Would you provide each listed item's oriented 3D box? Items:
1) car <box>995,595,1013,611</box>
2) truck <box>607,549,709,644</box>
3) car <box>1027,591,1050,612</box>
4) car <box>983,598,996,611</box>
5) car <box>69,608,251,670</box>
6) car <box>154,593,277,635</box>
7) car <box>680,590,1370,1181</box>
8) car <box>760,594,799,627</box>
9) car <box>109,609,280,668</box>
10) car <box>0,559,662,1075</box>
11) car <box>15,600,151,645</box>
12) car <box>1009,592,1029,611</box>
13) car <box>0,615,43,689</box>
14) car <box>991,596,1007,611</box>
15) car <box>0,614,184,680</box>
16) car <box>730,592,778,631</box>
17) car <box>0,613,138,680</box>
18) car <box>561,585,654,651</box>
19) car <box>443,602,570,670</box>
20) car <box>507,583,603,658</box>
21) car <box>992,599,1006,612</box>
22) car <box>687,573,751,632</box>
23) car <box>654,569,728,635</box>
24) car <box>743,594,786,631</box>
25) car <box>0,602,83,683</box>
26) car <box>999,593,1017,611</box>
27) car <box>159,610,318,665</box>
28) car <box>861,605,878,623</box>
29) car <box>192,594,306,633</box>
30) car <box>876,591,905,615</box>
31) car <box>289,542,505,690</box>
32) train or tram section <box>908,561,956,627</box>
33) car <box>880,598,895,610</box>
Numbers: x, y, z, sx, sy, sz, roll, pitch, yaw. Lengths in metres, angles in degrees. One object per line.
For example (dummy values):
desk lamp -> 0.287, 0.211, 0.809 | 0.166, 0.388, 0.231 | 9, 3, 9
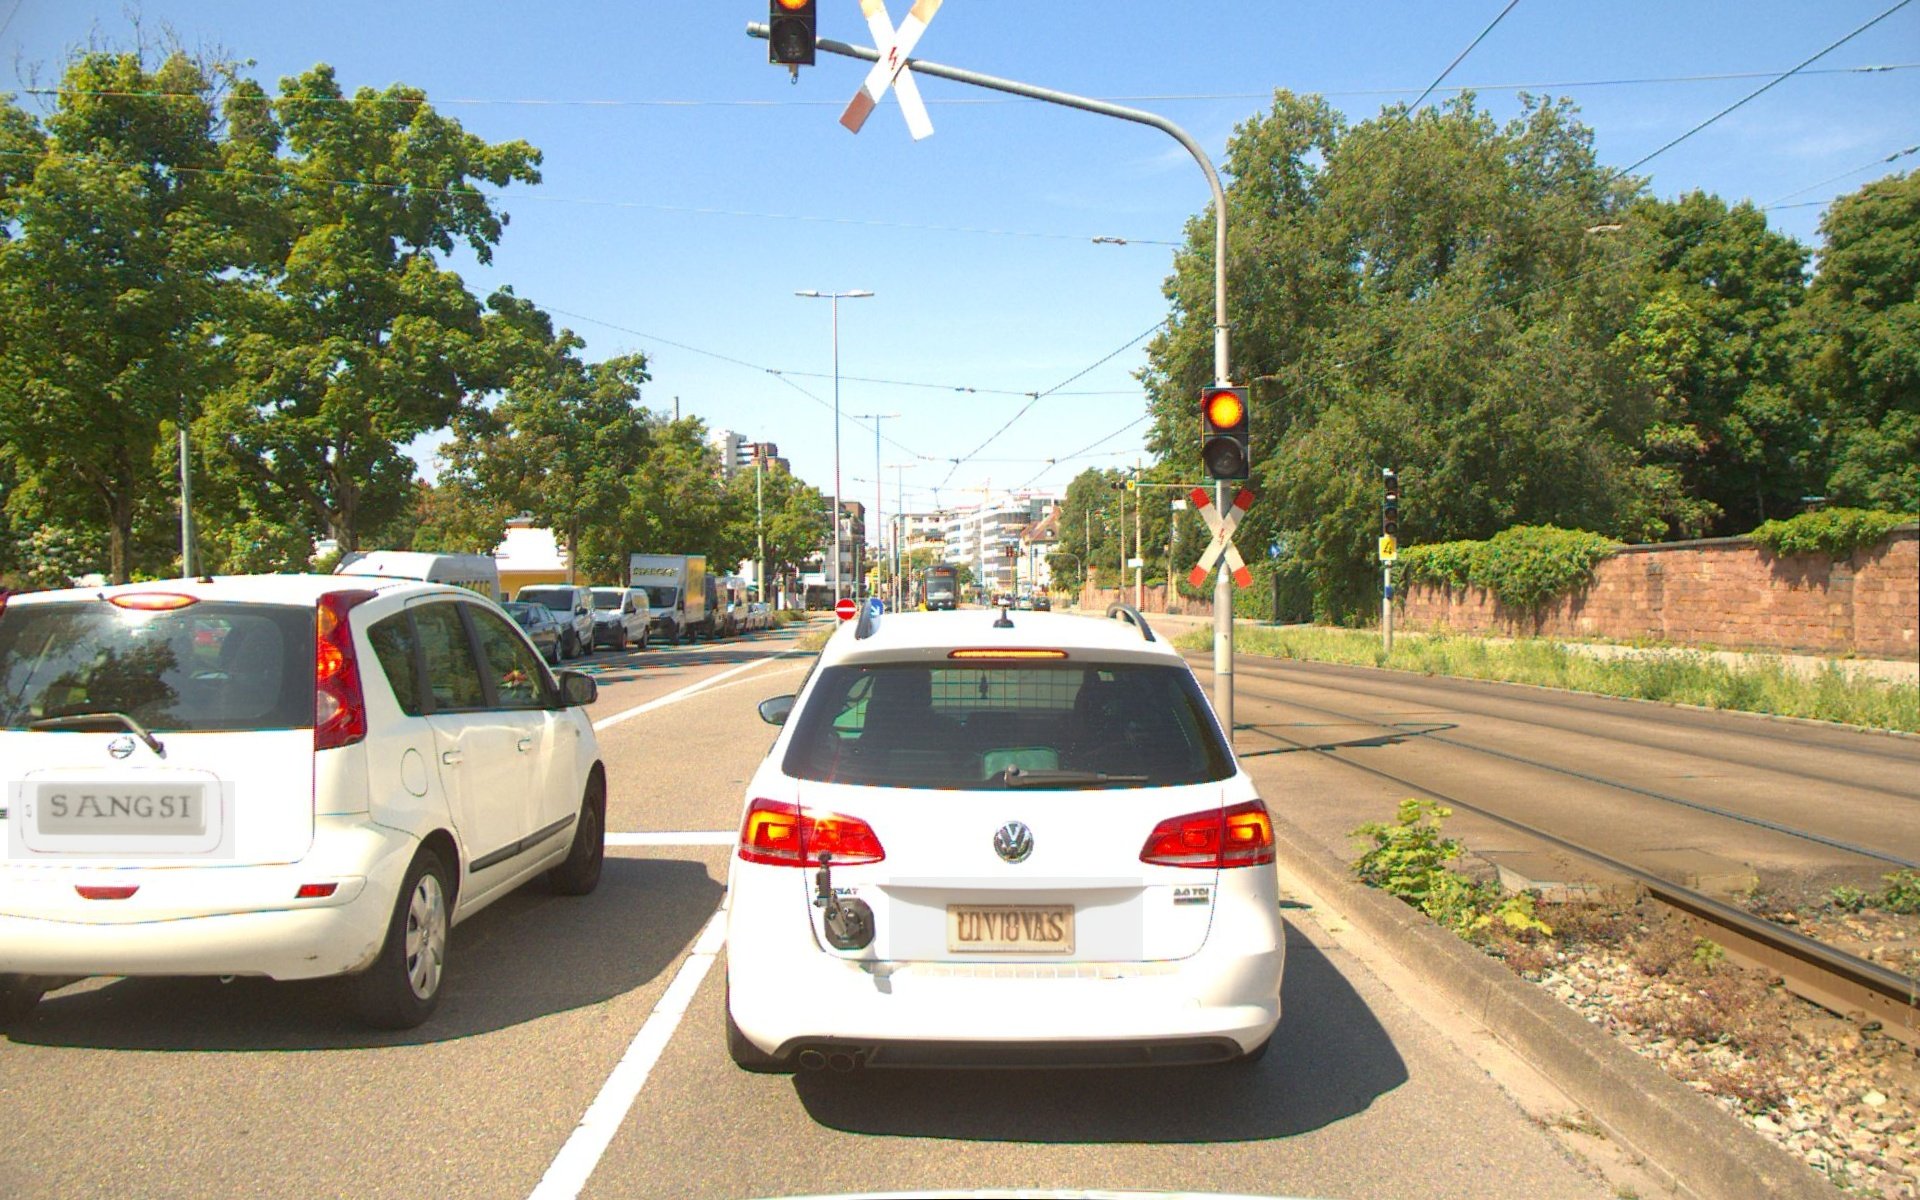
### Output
car -> 5.444, 0.332, 205.196 | 1.826, 1.900, 5.060 | 1, 0, -2
truck -> -10.889, -0.125, 60.146 | 2.371, 3.205, 6.996 | 1, 0, 0
car -> 7.415, 0.126, 156.781 | 1.826, 1.900, 5.060 | 1, 0, -2
car -> 4.664, 0.722, 262.596 | 1.826, 1.900, 5.060 | 1, 0, -2
car -> -21.118, 1.014, 43.779 | 3.909, 1.440, 1.728 | -2, 0, -5
car -> -34.386, 0.653, 76.493 | 4.698, 1.819, 2.062 | 1, 0, -5
car -> 0.140, 0.711, 6.204 | 1.726, 1.455, 3.999 | -1, 0, -1
car -> -10.718, 0.606, 98.422 | 1.826, 1.900, 5.412 | 1, 0, -1
car -> -21.296, 1.047, 46.107 | 3.909, 1.440, 1.728 | -2, 0, -5
car -> -2.547, 0.651, 7.322 | 1.628, 1.575, 4.546 | 0, 0, 0
car -> -37.826, 0.970, 71.423 | 4.698, 1.819, 2.062 | 1, 0, -5
car -> 6.143, 0.127, 172.708 | 1.826, 1.900, 5.060 | 1, 0, -2
car -> -20.740, 1.114, 32.920 | 3.909, 1.440, 1.728 | -2, 0, -5
car -> 5.329, 0.479, 227.190 | 1.826, 1.900, 5.060 | 1, 0, -2
car -> -21.740, 1.158, 41.238 | 3.909, 1.440, 1.728 | -2, 0, -5
car -> -10.501, 0.541, 84.694 | 1.826, 1.900, 5.412 | 1, 0, -1
car -> -21.625, 1.106, 38.630 | 3.909, 1.440, 1.728 | -2, 0, -5
car -> -10.941, 0.516, 51.722 | 1.826, 1.900, 5.412 | 1, 0, -1
car -> -10.500, 0.792, 38.603 | 1.826, 1.440, 4.278 | 1, 0, -1
car -> -10.986, 0.520, 45.137 | 1.828, 1.900, 5.068 | 1, 0, -6
car -> 5.827, 0.862, 247.413 | 1.826, 1.900, 5.060 | 1, 0, -2
car -> -10.953, 0.083, 75.580 | 2.079, 2.560, 5.733 | 1, 0, 0
car -> -11.019, 0.049, 68.143 | 2.079, 2.560, 5.733 | 1, 0, 0
car -> -10.772, 0.671, 91.505 | 1.826, 1.900, 5.412 | 1, 0, -1
car -> -21.084, 0.953, 35.113 | 3.909, 1.638, 1.728 | -2, 0, -5
car -> 5.466, 0.219, 188.673 | 1.826, 1.900, 5.060 | 1, 0, -2
car -> -21.285, 1.091, 48.925 | 3.909, 1.440, 1.728 | -2, 0, -5
car -> -10.264, 1.580, 187.813 | 1.726, 1.929, 4.913 | 1, 0, -1
car -> -34.908, 0.663, 81.294 | 4.698, 1.819, 2.062 | 1, 0, -5
car -> -4.723, 0.185, 112.561 | 1.670, 1.499, 4.589 | -1, 0, 0
car -> -10.753, 0.266, 32.125 | 2.079, 2.560, 5.817 | 1, 0, 1
train or tram section -> -1.797, -0.391, 106.911 | 2.812, 3.923, 12.389 | -1, 0, -1
car -> -9.273, 0.526, 211.772 | 1.672, 1.499, 4.585 | -1, 0, -4
